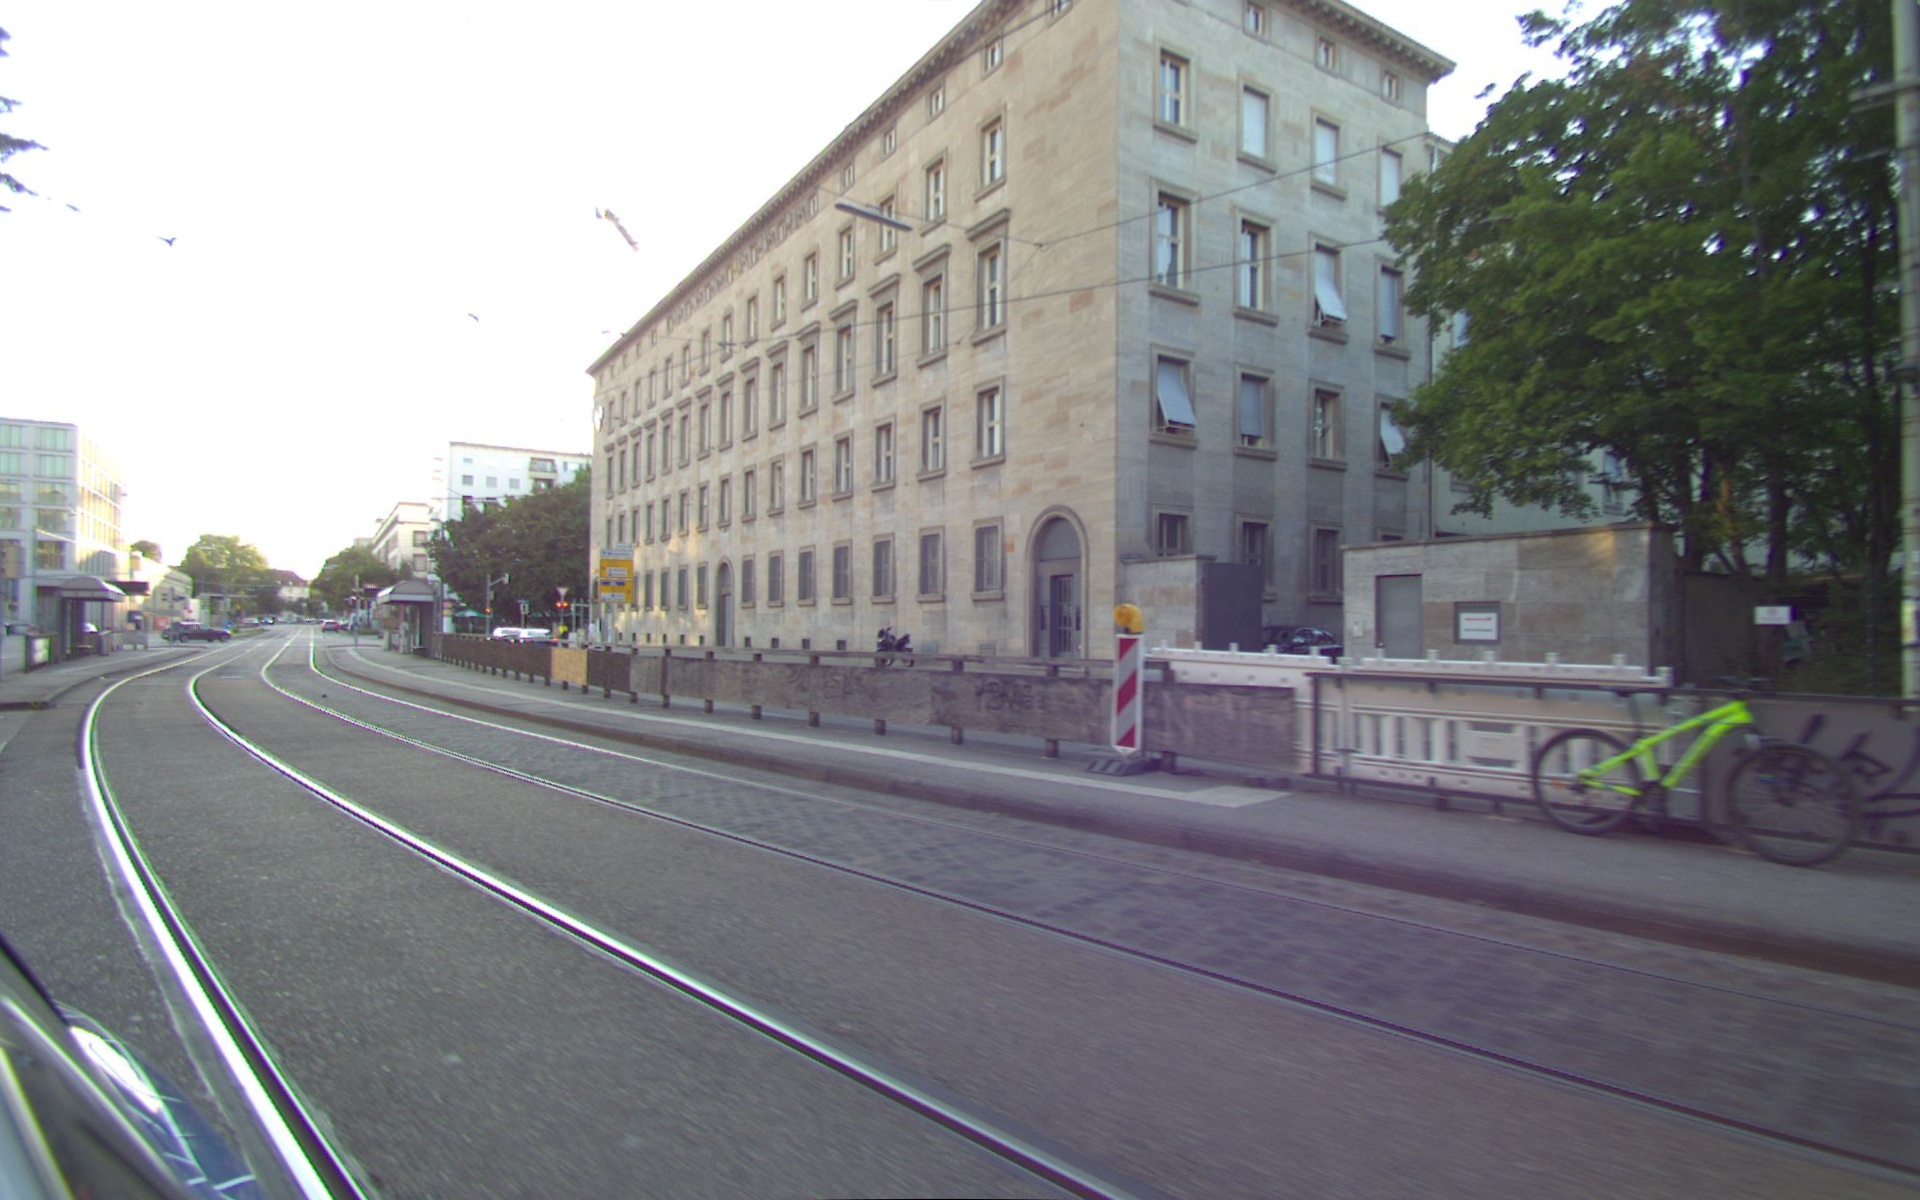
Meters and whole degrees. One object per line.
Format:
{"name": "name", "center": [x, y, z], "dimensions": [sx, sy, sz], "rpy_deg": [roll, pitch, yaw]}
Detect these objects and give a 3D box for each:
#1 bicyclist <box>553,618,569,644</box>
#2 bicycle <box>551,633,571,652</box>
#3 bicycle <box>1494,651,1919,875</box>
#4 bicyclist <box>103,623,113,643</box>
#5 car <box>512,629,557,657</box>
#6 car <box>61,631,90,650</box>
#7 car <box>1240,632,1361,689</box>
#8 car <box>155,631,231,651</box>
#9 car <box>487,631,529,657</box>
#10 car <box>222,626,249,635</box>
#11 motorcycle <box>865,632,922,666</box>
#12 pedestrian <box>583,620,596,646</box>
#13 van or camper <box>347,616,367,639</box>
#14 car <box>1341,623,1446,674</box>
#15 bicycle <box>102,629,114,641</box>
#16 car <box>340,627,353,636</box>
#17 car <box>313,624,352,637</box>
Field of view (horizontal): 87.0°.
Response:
{"name": "bicyclist", "center": [-22.577, 1.742, 57.310], "dimensions": [0.746, 1.452, 0.598], "rpy_deg": [1, -2, -33]}
{"name": "bicycle", "center": [-22.527, 2.403, 57.178], "dimensions": [0.731, 1.025, 1.766], "rpy_deg": [1, -2, -32]}
{"name": "bicycle", "center": [4.341, 0.871, 6.022], "dimensions": [0.456, 1.083, 2.024], "rpy_deg": [2, -2, -42]}
{"name": "bicyclist", "center": [-72.249, 2.793, 85.802], "dimensions": [0.532, 1.648, 0.598], "rpy_deg": [1, -2, -33]}
{"name": "car", "center": [-22.840, 2.287, 54.264], "dimensions": [1.620, 1.438, 3.715], "rpy_deg": [1, -2, -33]}
{"name": "car", "center": [-76.235, 3.440, 87.209], "dimensions": [1.789, 1.534, 4.816], "rpy_deg": [-1, -1, -42]}
{"name": "car", "center": [9.248, 1.606, 27.474], "dimensions": [3.133, 1.430, 1.482], "rpy_deg": [1, -2, -33]}
{"name": "car", "center": [-56.367, 2.978, 74.476], "dimensions": [1.690, 1.431, 4.136], "rpy_deg": [0, -2, 26]}
{"name": "car", "center": [-26.597, 2.578, 59.515], "dimensions": [1.620, 1.438, 4.244], "rpy_deg": [1, -2, -33]}
{"name": "car", "center": [-127.179, 5.331, 177.649], "dimensions": [3.745, 1.661, 1.868], "rpy_deg": [1, -2, -33]}
{"name": "motorcycle", "center": [-2.257, 1.615, 33.805], "dimensions": [0.689, 1.083, 2.661], "rpy_deg": [2, -2, -33]}
{"name": "pedestrian", "center": [-25.473, 2.263, 69.606], "dimensions": [0.686, 1.723, 0.648], "rpy_deg": [1, -2, -30]}
{"name": "van or camper", "center": [-75.264, 3.423, 126.303], "dimensions": [2.076, 2.702, 4.723], "rpy_deg": [0, -4, -31]}
{"name": "car", "center": [12.620, 1.375, 29.452], "dimensions": [2.963, 1.430, 1.397], "rpy_deg": [1, -2, -33]}
{"name": "bicycle", "center": [-72.454, 2.986, 86.111], "dimensions": [0.531, 1.059, 1.766], "rpy_deg": [1, -2, -32]}
{"name": "car", "center": [-100.076, 5.055, 165.068], "dimensions": [1.694, 1.441, 3.821], "rpy_deg": [1, -2, -30]}
{"name": "car", "center": [-80.871, 3.973, 130.437], "dimensions": [4.309, 1.676, 1.876], "rpy_deg": [0, -2, 18]}
